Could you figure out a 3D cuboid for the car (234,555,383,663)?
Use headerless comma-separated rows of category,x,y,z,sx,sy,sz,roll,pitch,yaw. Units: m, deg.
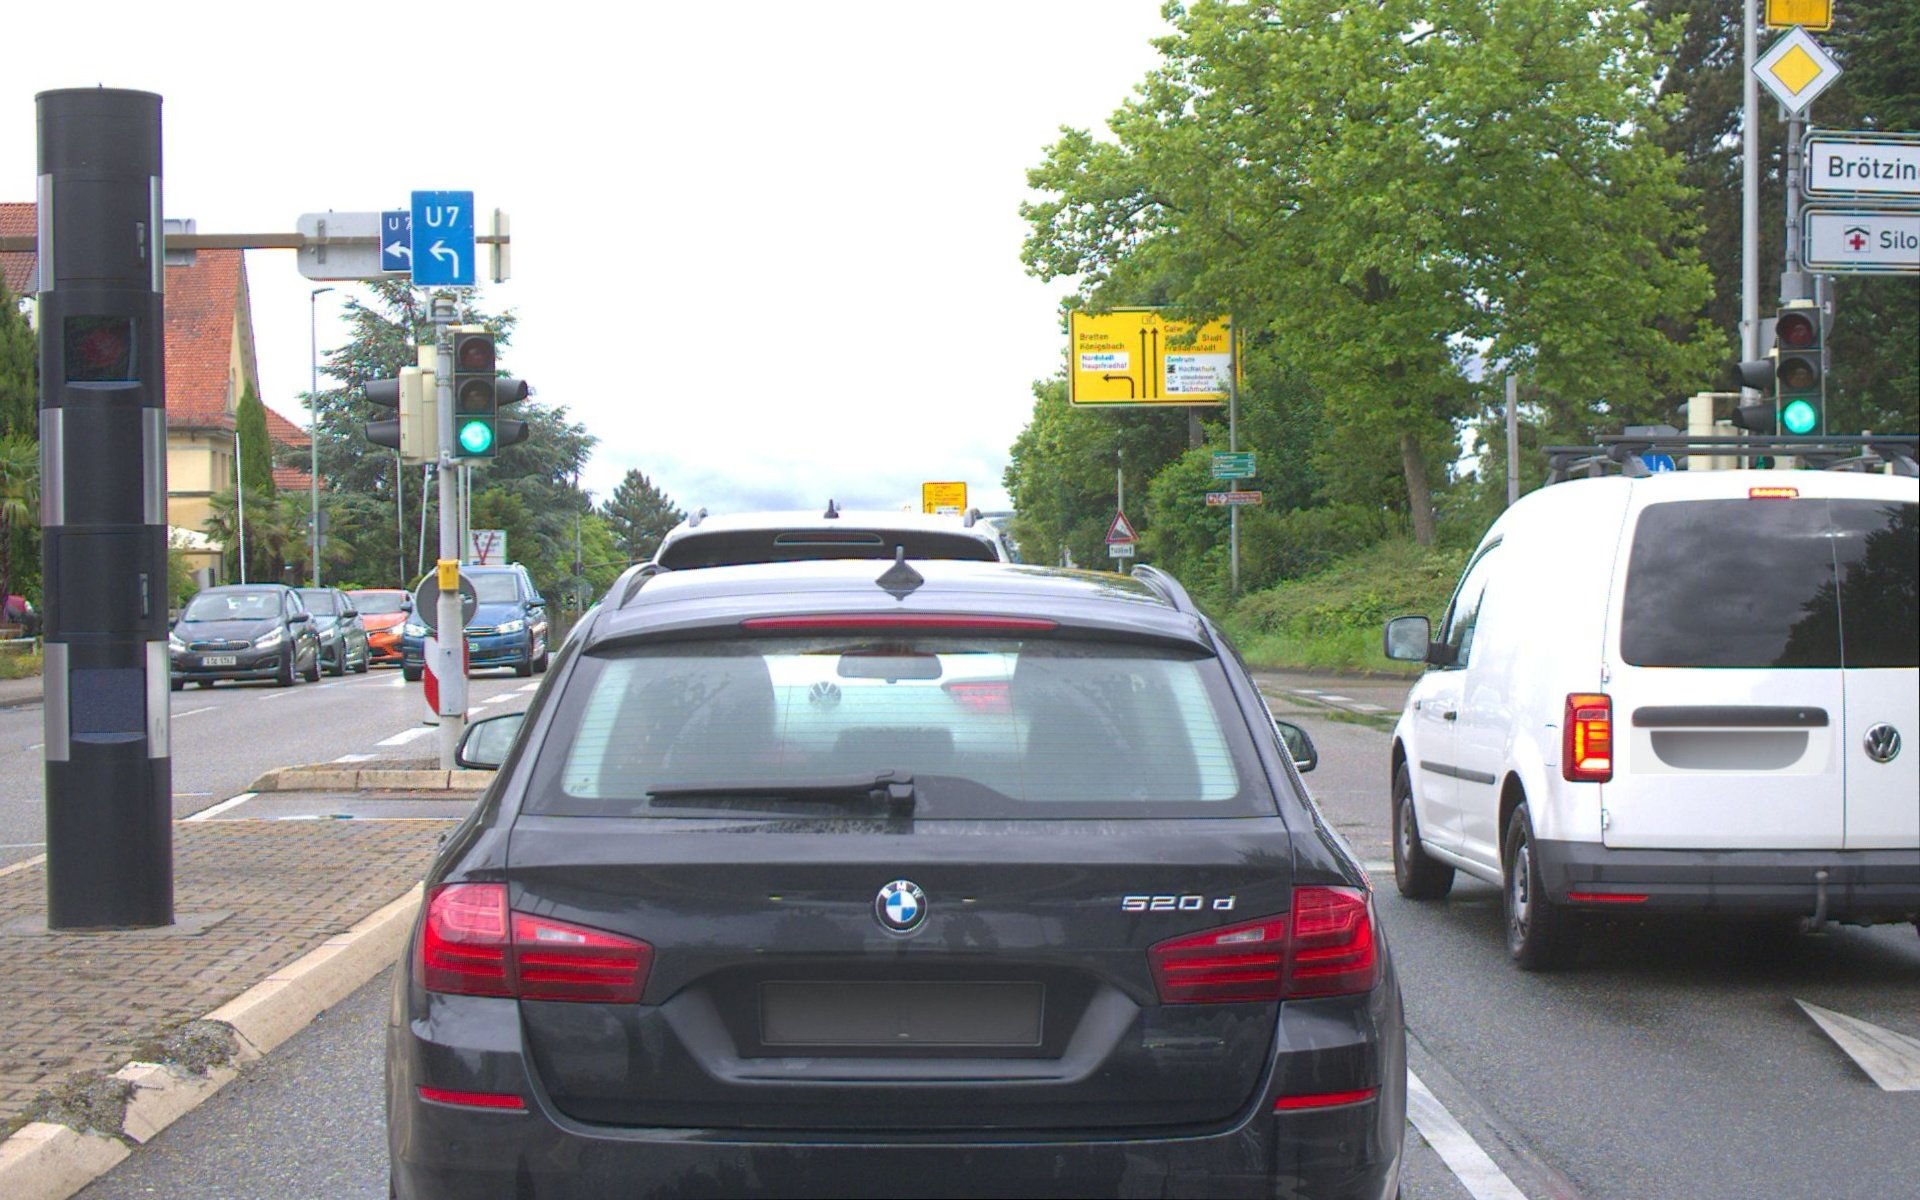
car,-10.532,0.120,55.785,1.676,1.612,4.000,-2,1,-1

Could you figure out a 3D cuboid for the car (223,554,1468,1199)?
car,-0.194,0.645,7.262,1.899,1.436,4.000,0,1,0

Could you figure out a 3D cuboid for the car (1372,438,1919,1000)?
car,2.771,0.359,13.392,1.764,1.871,3.806,0,1,-1

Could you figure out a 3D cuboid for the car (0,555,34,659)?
car,-18.493,0.234,58.303,4.996,1.697,2.000,-3,-2,-28

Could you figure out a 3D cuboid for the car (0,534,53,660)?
car,-17.213,0.035,55.790,4.385,2.007,2.000,-3,1,-29

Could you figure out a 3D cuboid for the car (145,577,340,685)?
car,-10.163,0.410,48.973,1.917,1.375,4.125,-2,1,-1

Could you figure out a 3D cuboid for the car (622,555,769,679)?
car,-3.667,0.199,48.354,1.839,1.644,4.298,-1,1,-2

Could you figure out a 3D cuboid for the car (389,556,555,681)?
car,-6.971,0.232,49.447,1.839,1.644,4.298,-2,1,-2

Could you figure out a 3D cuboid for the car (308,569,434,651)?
car,-10.521,0.155,61.627,1.622,1.327,3.947,-2,1,-1

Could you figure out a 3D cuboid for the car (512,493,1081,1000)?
car,-0.558,0.440,13.354,1.868,1.668,4.000,0,1,0
